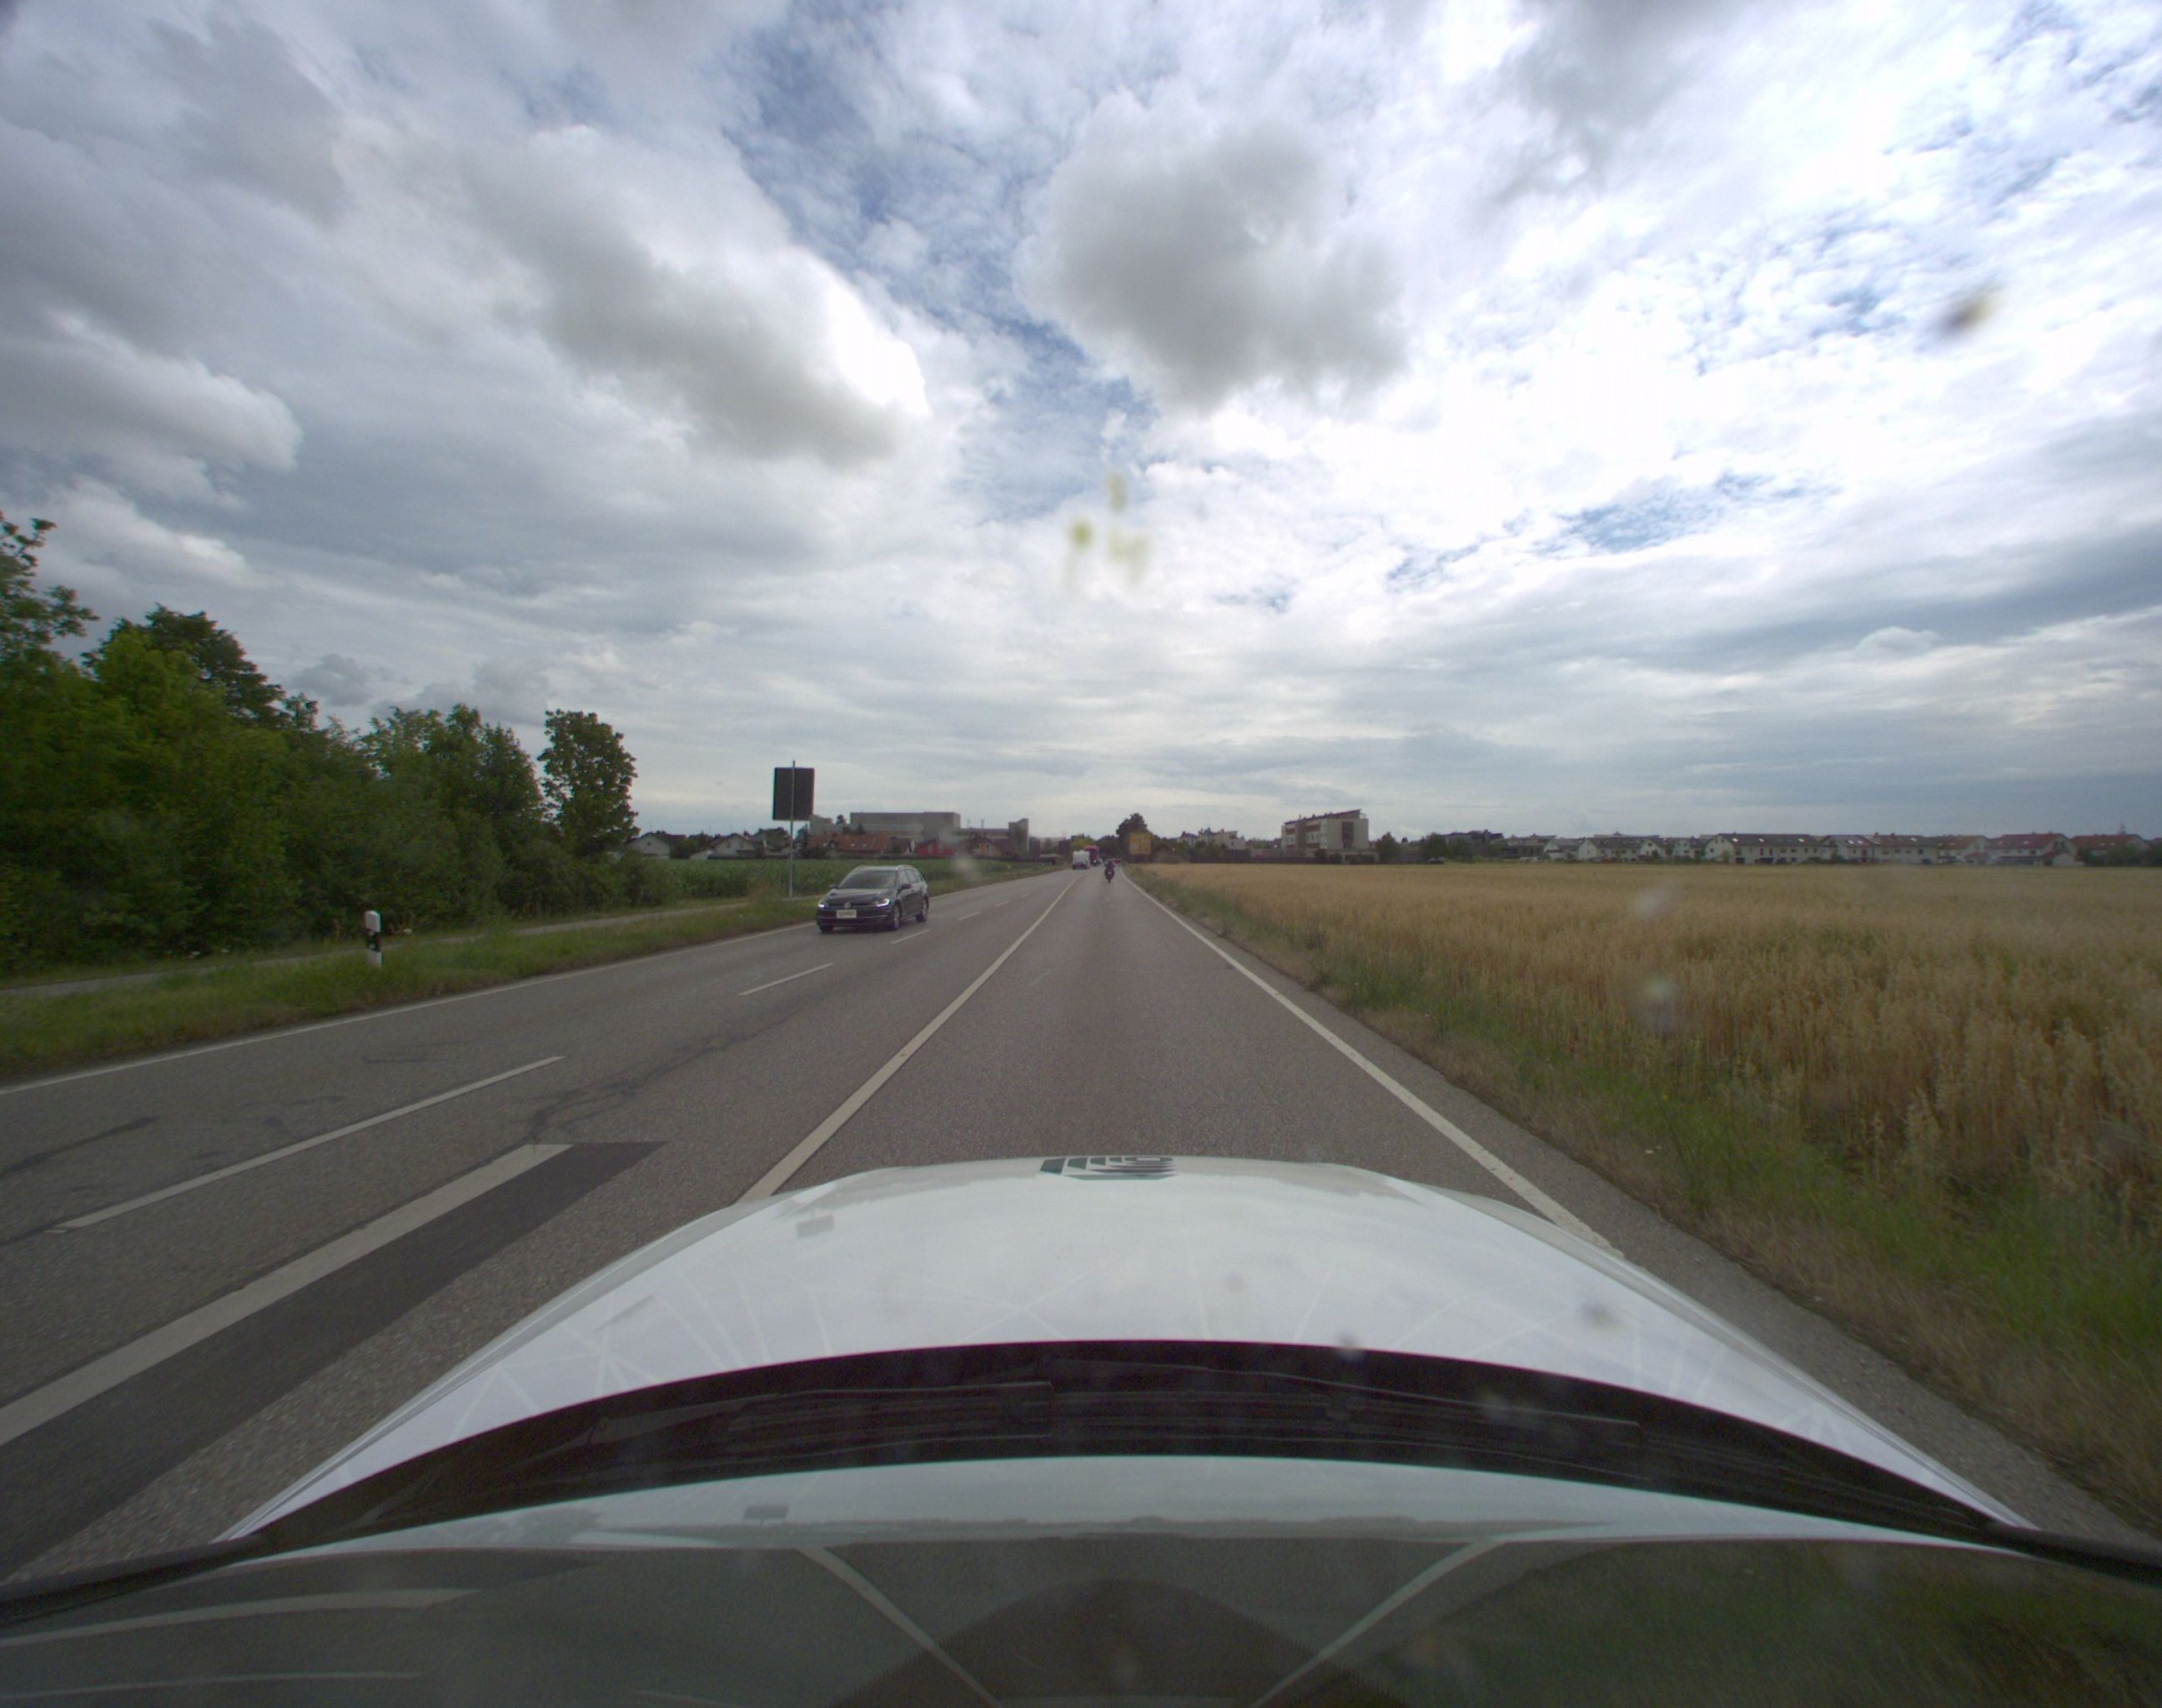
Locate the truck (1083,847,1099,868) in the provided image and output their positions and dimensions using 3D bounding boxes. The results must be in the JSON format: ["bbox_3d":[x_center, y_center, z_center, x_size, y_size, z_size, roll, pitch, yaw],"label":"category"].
[{"bbox_3d":[2.028,0.774,159.778,2.718,3.987,6.821,0,-1,3],"label":"truck"}]

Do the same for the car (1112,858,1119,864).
[{"bbox_3d":[9.341,1.957,219.233,1.847,1.473,4.002,0,-1,2],"label":"car"}]

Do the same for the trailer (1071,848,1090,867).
[{"bbox_3d":[0.002,0.558,119.277,2.314,2.729,7.848,0,-1,3],"label":"trailer"}]

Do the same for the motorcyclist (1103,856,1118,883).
[{"bbox_3d":[1.974,1.016,54.485,0.937,1.750,1.201,0,-1,2],"label":"motorcyclist"}]

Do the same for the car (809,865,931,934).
[{"bbox_3d":[-4.952,1.010,19.707,1.662,1.429,4.305,-1,-1,2],"label":"car"}]

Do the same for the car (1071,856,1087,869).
[{"bbox_3d":[-0.262,1.186,113.184,1.986,1.699,4.678,0,-1,2],"label":"car"}]

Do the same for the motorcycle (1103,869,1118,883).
[{"bbox_3d":[1.977,1.439,54.368,0.937,0.890,2.147,0,-1,2],"label":"motorcycle"}]
